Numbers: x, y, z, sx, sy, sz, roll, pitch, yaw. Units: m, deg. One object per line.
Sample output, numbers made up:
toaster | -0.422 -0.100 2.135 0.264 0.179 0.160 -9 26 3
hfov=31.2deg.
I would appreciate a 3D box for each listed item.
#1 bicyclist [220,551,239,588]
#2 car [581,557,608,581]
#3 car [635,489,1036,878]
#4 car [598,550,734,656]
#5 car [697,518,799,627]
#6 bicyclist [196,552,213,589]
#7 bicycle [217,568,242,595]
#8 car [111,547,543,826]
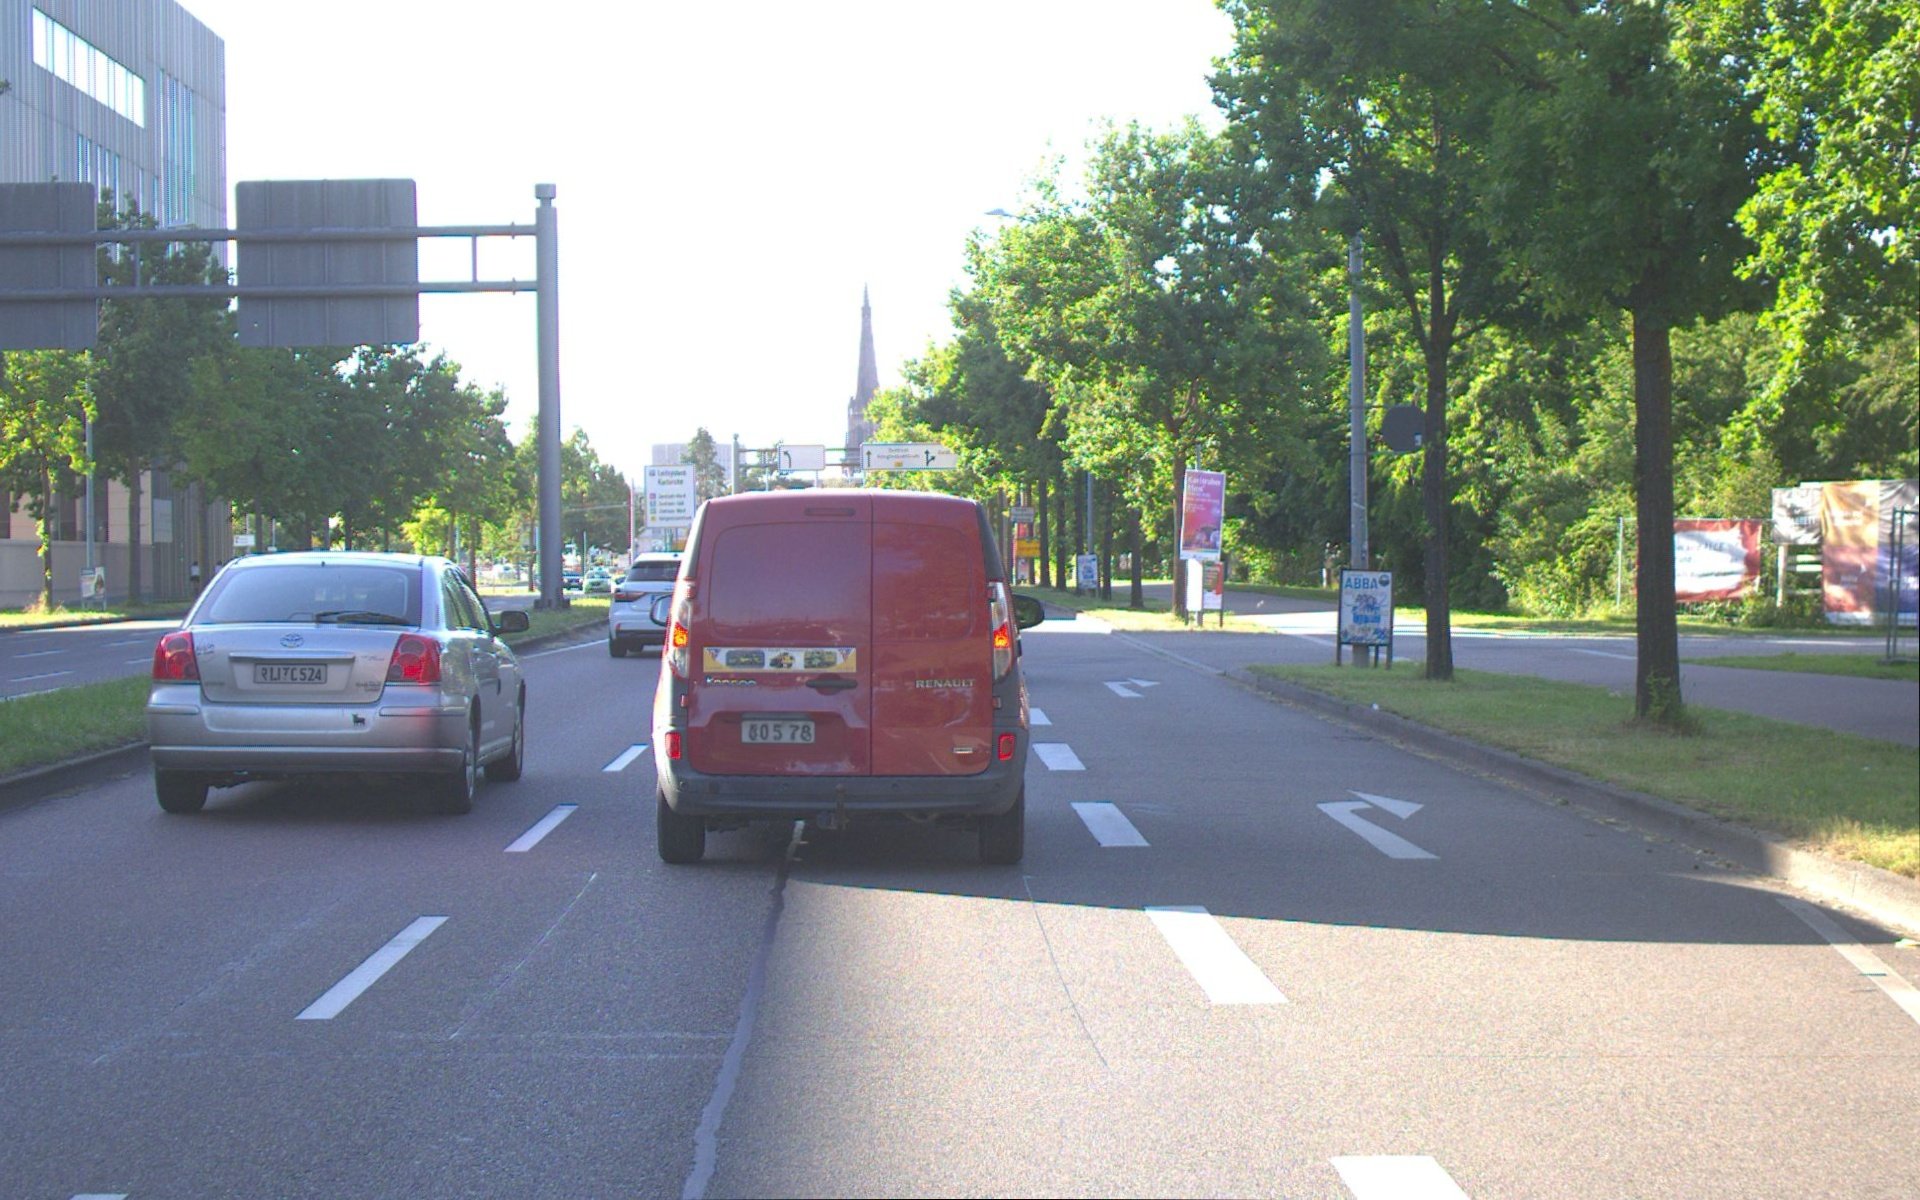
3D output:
bicyclist | -27.564 -1.140 129.741 0.562 1.387 0.747 -1 0 -2
car | -22.580 -1.922 212.293 1.446 1.431 3.460 -1 1 -3
car | -0.625 0.350 17.619 1.806 1.753 4.006 0 1 -2
car | -4.016 0.014 47.321 1.661 1.393 3.559 -1 1 -2
car | -3.726 -0.501 60.869 1.661 1.850 3.559 -1 1 -2
bicyclist | -28.588 -1.111 130.036 0.482 1.390 0.844 -1 0 -2
bicycle | -27.560 -0.702 129.752 0.570 1.000 2.096 -1 0 -3
car | -3.590 0.425 20.214 1.841 1.451 4.163 1 1 -1
